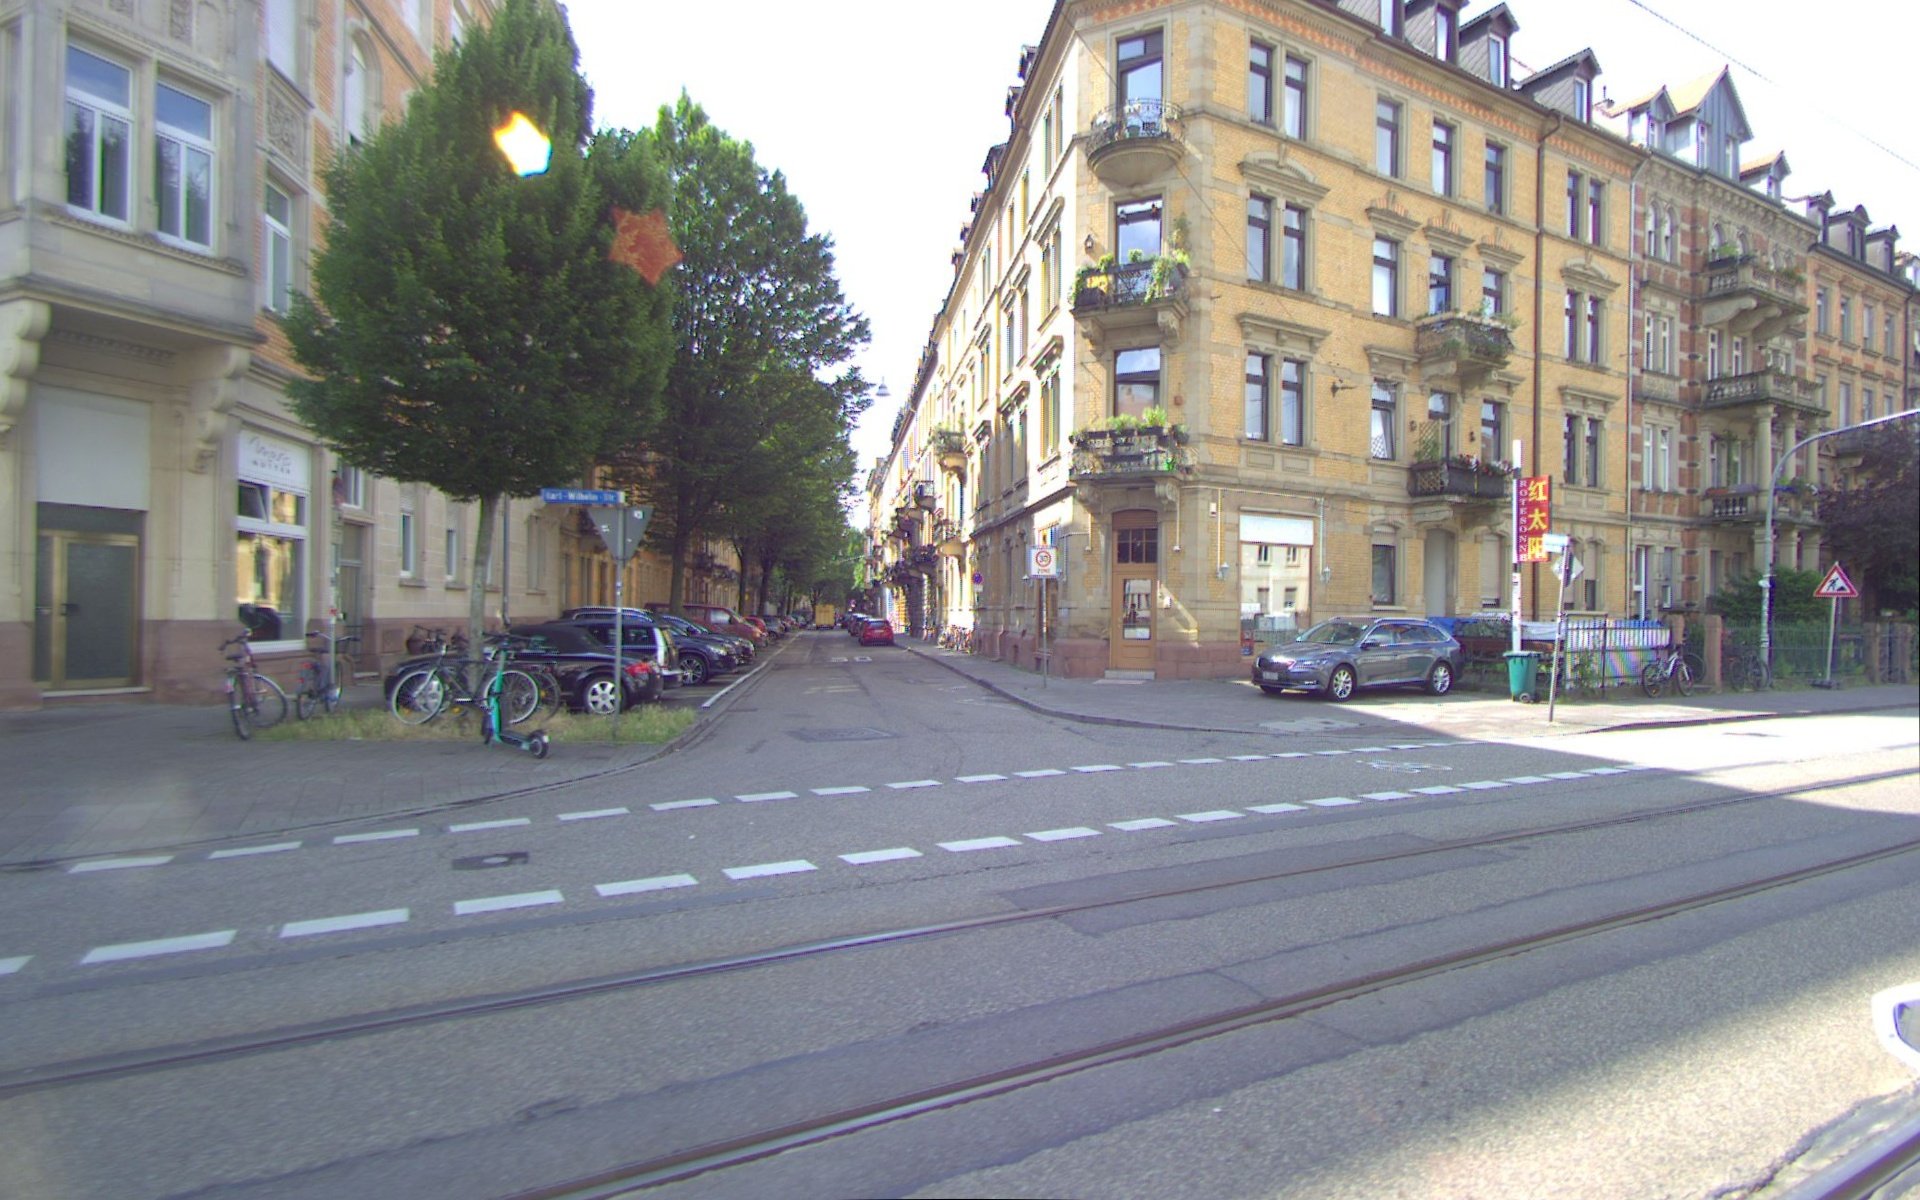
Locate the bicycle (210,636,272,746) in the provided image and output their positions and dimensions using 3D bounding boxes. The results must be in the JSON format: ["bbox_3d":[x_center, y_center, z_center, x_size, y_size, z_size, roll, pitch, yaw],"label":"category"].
[{"bbox_3d":[-8.008,0.970,11.225,0.519,1.078,1.742,0,0,-34],"label":"bicycle"}]

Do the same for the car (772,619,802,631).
[{"bbox_3d":[-18.867,2.713,109.659,3.144,1.220,1.441,1,-1,-10],"label":"car"}]

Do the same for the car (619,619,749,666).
[{"bbox_3d":[-9.086,1.392,33.331,3.926,1.517,1.618,1,-1,-7],"label":"car"}]

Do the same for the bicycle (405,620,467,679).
[{"bbox_3d":[-11.489,1.060,22.105,0.614,1.225,2.177,0,-1,-11],"label":"bicycle"}]

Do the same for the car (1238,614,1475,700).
[{"bbox_3d":[7.634,1.032,19.205,4.708,1.478,1.677,1,-1,-30],"label":"car"}]

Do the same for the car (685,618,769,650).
[{"bbox_3d":[-11.524,1.688,49.863,3.926,1.534,1.618,1,-1,-7],"label":"car"}]

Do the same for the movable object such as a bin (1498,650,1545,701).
[{"bbox_3d":[10.502,1.410,18.793,0.629,0.918,0.522,1,-1,-31],"label":"movable object such as a bin"}]

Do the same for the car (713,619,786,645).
[{"bbox_3d":[-11.937,1.813,57.261,3.926,1.442,1.618,1,-1,-7],"label":"car"}]

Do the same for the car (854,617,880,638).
[{"bbox_3d":[-6.720,1.955,72.463,1.731,1.442,3.995,1,-1,-8],"label":"car"}]

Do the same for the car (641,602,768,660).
[{"bbox_3d":[-9.545,1.163,37.827,4.429,2.092,1.895,1,-1,-7],"label":"car"}]

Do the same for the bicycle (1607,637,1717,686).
[{"bbox_3d":[15.620,1.349,22.389,0.526,0.959,1.949,1,0,-34],"label":"bicycle"}]

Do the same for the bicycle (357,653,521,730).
[{"bbox_3d":[-6.207,1.076,12.038,1.670,0.849,0.523,0,0,-17],"label":"bicycle"}]

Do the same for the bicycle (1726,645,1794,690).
[{"bbox_3d":[17.883,1.488,22.452,1.945,0.959,0.527,1,-1,-30],"label":"bicycle"}]

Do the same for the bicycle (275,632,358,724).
[{"bbox_3d":[-8.368,0.979,13.127,0.516,1.078,1.691,0,0,-19],"label":"bicycle"}]

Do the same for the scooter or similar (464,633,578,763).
[{"bbox_3d":[-4.646,1.004,10.603,1.342,1.251,0.403,1,0,32],"label":"scooter or similar"}]

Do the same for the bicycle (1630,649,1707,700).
[{"bbox_3d":[14.266,1.474,20.214,1.945,0.959,0.527,1,-1,-30],"label":"bicycle"}]

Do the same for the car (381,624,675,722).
[{"bbox_3d":[-6.454,1.072,15.410,3.857,1.378,1.641,0,-1,-11],"label":"car"}]

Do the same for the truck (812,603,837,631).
[{"bbox_3d":[-16.389,2.021,120.920,2.474,3.189,10.447,-2,-1,-10],"label":"truck"}]

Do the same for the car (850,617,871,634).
[{"bbox_3d":[-8.613,2.180,86.678,1.731,1.442,3.995,1,-1,-8],"label":"car"}]

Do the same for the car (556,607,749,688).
[{"bbox_3d":[-6.897,1.073,22.868,3.926,1.744,1.618,1,-1,-7],"label":"car"}]

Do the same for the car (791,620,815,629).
[{"bbox_3d":[-20.794,3.220,133.195,3.144,1.220,1.441,1,-1,-10],"label":"car"}]

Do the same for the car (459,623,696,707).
[{"bbox_3d":[-6.810,1.144,18.211,3.717,1.434,1.643,0,-1,-7],"label":"car"}]

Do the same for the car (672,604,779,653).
[{"bbox_3d":[-10.500,1.297,45.228,4.429,1.997,1.895,2,-1,-7],"label":"car"}]

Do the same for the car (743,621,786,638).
[{"bbox_3d":[-14.697,2.208,75.550,3.144,1.220,1.441,1,-1,-10],"label":"car"}]

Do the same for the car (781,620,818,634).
[{"bbox_3d":[-13.896,2.358,87.082,3.144,1.220,1.441,1,-1,-10],"label":"car"}]

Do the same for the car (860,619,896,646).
[{"bbox_3d":[-4.530,1.760,55.123,1.731,1.442,3.995,1,-1,-8],"label":"car"}]

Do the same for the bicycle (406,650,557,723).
[{"bbox_3d":[-6.037,1.082,12.757,1.670,0.849,0.523,0,0,-17],"label":"bicycle"}]

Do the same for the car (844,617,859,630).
[{"bbox_3d":[-12.840,2.781,118.821,1.731,1.442,3.995,1,-1,-8],"label":"car"}]

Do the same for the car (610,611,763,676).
[{"bbox_3d":[-7.592,1.208,28.190,3.926,1.744,1.618,1,-1,-7],"label":"car"}]

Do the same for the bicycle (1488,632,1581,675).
[{"bbox_3d":[13.701,1.260,24.008,0.525,0.959,1.953,1,-1,-29],"label":"bicycle"}]
